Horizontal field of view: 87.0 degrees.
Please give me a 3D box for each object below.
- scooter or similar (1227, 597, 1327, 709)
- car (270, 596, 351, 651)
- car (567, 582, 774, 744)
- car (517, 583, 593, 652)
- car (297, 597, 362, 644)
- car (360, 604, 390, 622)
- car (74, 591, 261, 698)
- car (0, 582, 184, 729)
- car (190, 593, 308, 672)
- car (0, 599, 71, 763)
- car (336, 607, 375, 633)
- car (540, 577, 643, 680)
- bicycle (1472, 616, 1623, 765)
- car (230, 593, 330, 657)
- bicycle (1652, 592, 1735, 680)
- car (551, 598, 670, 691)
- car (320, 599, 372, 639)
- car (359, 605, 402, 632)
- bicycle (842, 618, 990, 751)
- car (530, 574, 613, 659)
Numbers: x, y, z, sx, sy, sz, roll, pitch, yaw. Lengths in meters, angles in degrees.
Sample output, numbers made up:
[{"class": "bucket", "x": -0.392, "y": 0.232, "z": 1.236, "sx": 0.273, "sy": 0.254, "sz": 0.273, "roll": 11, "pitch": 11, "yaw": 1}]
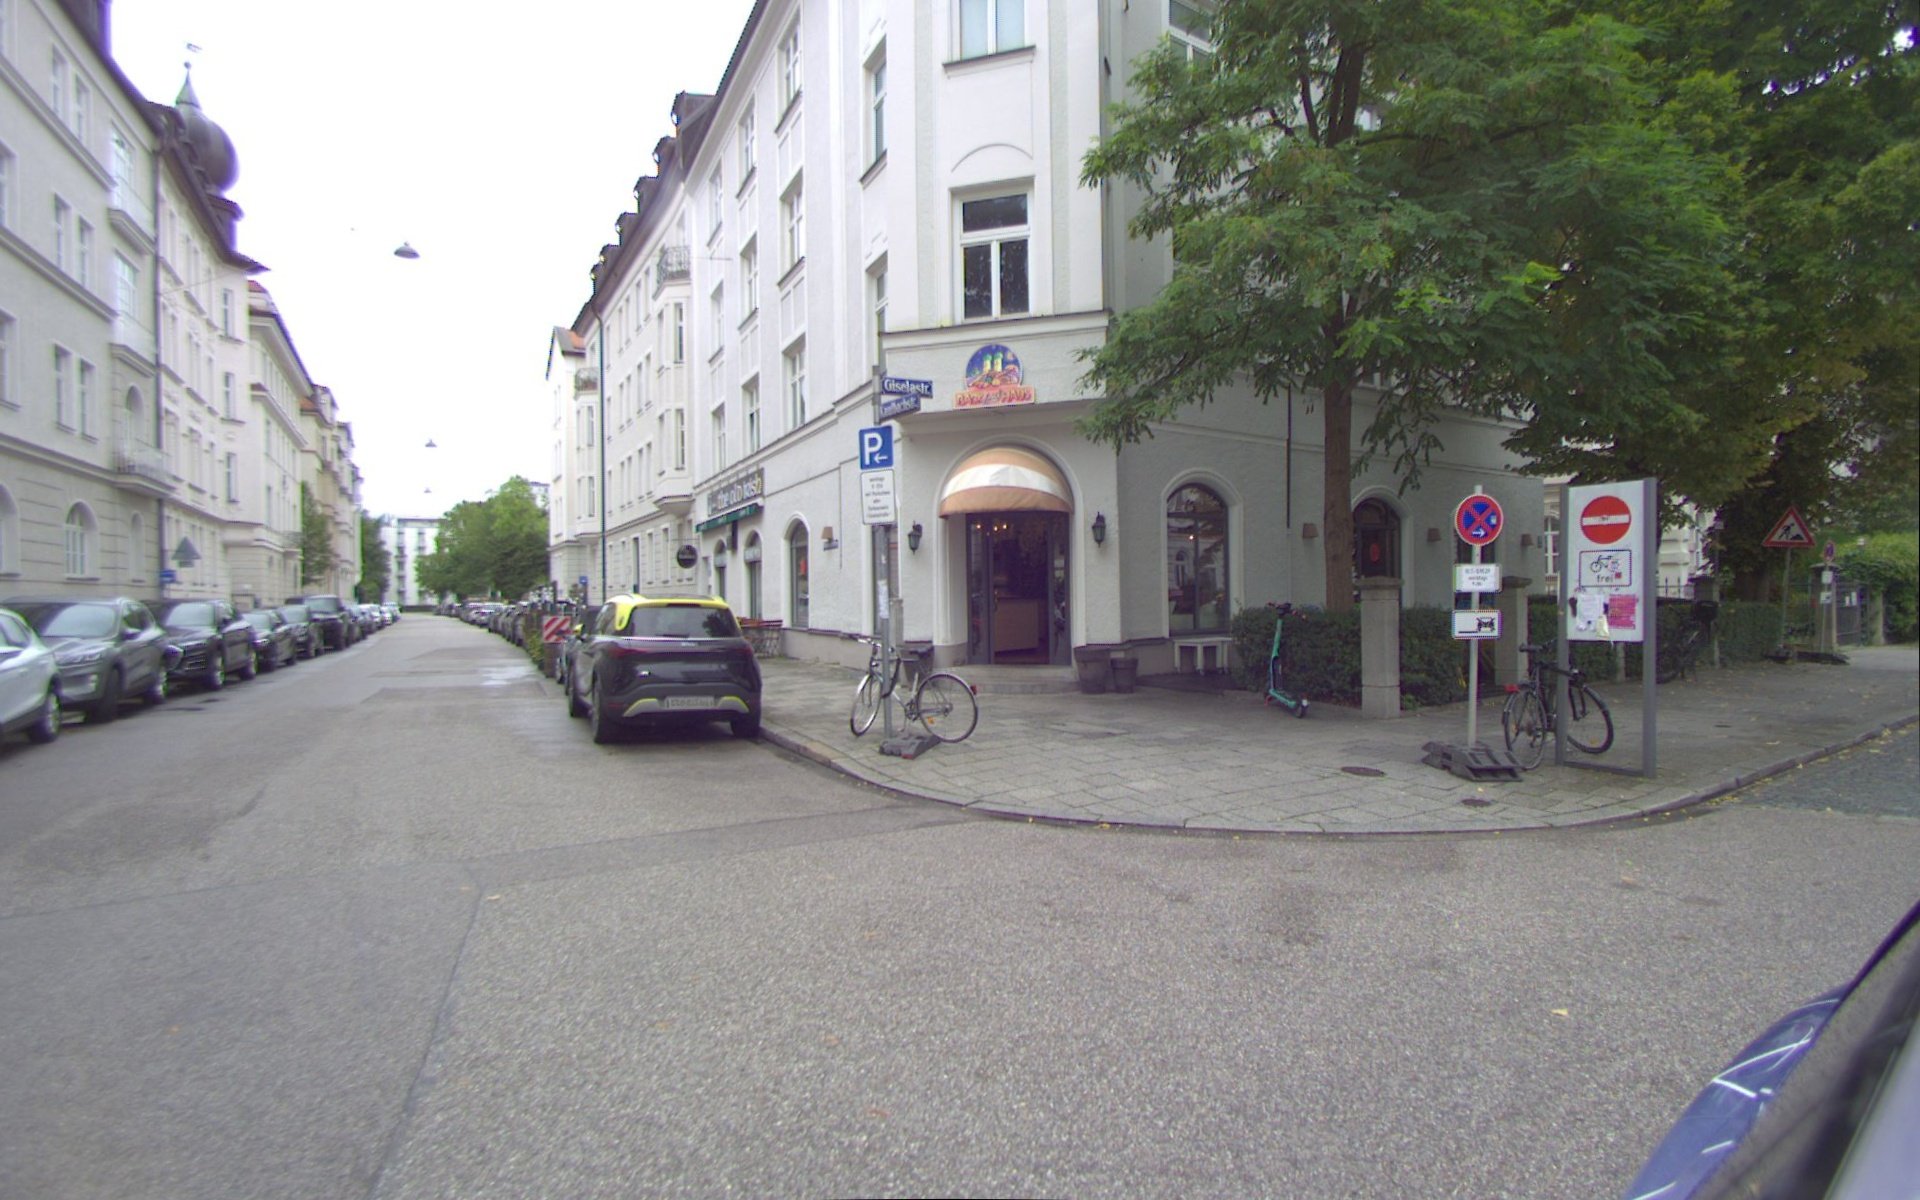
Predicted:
[{"class": "scooter or similar", "x": 3.813, "y": 0.604, "z": 12.297, "sx": 0.396, "sy": 1.186, "sz": 1.612, "roll": -1, "pitch": 3, "yaw": -13}, {"class": "car", "x": -21.649, "y": 0.740, "z": 33.872, "sx": 1.795, "sy": 1.692, "sz": 4.063, "roll": -1, "pitch": 0, "yaw": -26}, {"class": "car", "x": -3.751, "y": 0.646, "z": 12.576, "sx": 1.866, "sy": 1.617, "sz": 4.094, "roll": -1, "pitch": 0, "yaw": -24}, {"class": "car", "x": -11.878, "y": 0.476, "z": 29.513, "sx": 1.707, "sy": 1.835, "sz": 4.006, "roll": -1, "pitch": 0, "yaw": -27}, {"class": "car", "x": -24.383, "y": 0.757, "z": 39.237, "sx": 1.818, "sy": 1.678, "sz": 3.937, "roll": -1, "pitch": 0, "yaw": -28}, {"class": "car", "x": -47.083, "y": 1.037, "z": 81.421, "sx": 1.961, "sy": 1.294, "sz": 4.003, "roll": -2, "pitch": 0, "yaw": -31}, {"class": "car", "x": -14.305, "y": 0.702, "z": 18.549, "sx": 1.851, "sy": 1.684, "sz": 4.299, "roll": -1, "pitch": 1, "yaw": -26}, {"class": "car", "x": -12.427, "y": 0.637, "z": 14.128, "sx": 1.716, "sy": 1.733, "sz": 4.349, "roll": 1, "pitch": 1, "yaw": -27}, {"class": "car", "x": -16.835, "y": 0.691, "z": 24.143, "sx": 1.852, "sy": 1.684, "sz": 4.297, "roll": -1, "pitch": 1, "yaw": -29}, {"class": "car", "x": -10.056, "y": 0.777, "z": 9.741, "sx": 1.535, "sy": 1.540, "sz": 3.902, "roll": -1, "pitch": 0, "yaw": -31}, {"class": "car", "x": -37.327, "y": 1.218, "z": 62.540, "sx": 1.960, "sy": 1.529, "sz": 4.003, "roll": -1, "pitch": 0, "yaw": -31}, {"class": "car", "x": -8.089, "y": 0.565, "z": 22.032, "sx": 1.738, "sy": 1.994, "sz": 3.938, "roll": -1, "pitch": 0, "yaw": -25}, {"class": "bicycle", "x": 5.122, "y": 0.748, "z": 8.800, "sx": 1.558, "sy": 1.161, "sz": 0.390, "roll": -1, "pitch": 0, "yaw": -30}, {"class": "car", "x": -19.740, "y": 0.668, "z": 29.562, "sx": 1.851, "sy": 1.684, "sz": 4.298, "roll": -1, "pitch": 0, "yaw": -26}, {"class": "bicycle", "x": 11.159, "y": 0.520, "z": 15.375, "sx": 1.698, "sy": 1.212, "sz": 0.429, "roll": -2, "pitch": 5, "yaw": -36}, {"class": "car", "x": -6.305, "y": 0.710, "z": 18.042, "sx": 1.666, "sy": 1.443, "sz": 3.546, "roll": -1, "pitch": 0, "yaw": -24}, {"class": "car", "x": -26.934, "y": 0.791, "z": 44.478, "sx": 1.629, "sy": 1.614, "sz": 3.752, "roll": -1, "pitch": 1, "yaw": -27}, {"class": "car", "x": -31.451, "y": 0.968, "z": 54.983, "sx": 1.774, "sy": 1.364, "sz": 3.553, "roll": -1, "pitch": 0, "yaw": -26}, {"class": "bicycle", "x": -0.476, "y": 0.795, "z": 10.154, "sx": 0.725, "sy": 1.081, "sz": 1.607, "roll": -5, "pitch": 4, "yaw": -33}, {"class": "car", "x": -9.917, "y": 0.389, "z": 25.690, "sx": 1.695, "sy": 1.959, "sz": 3.666, "roll": -1, "pitch": 0, "yaw": -25}]
